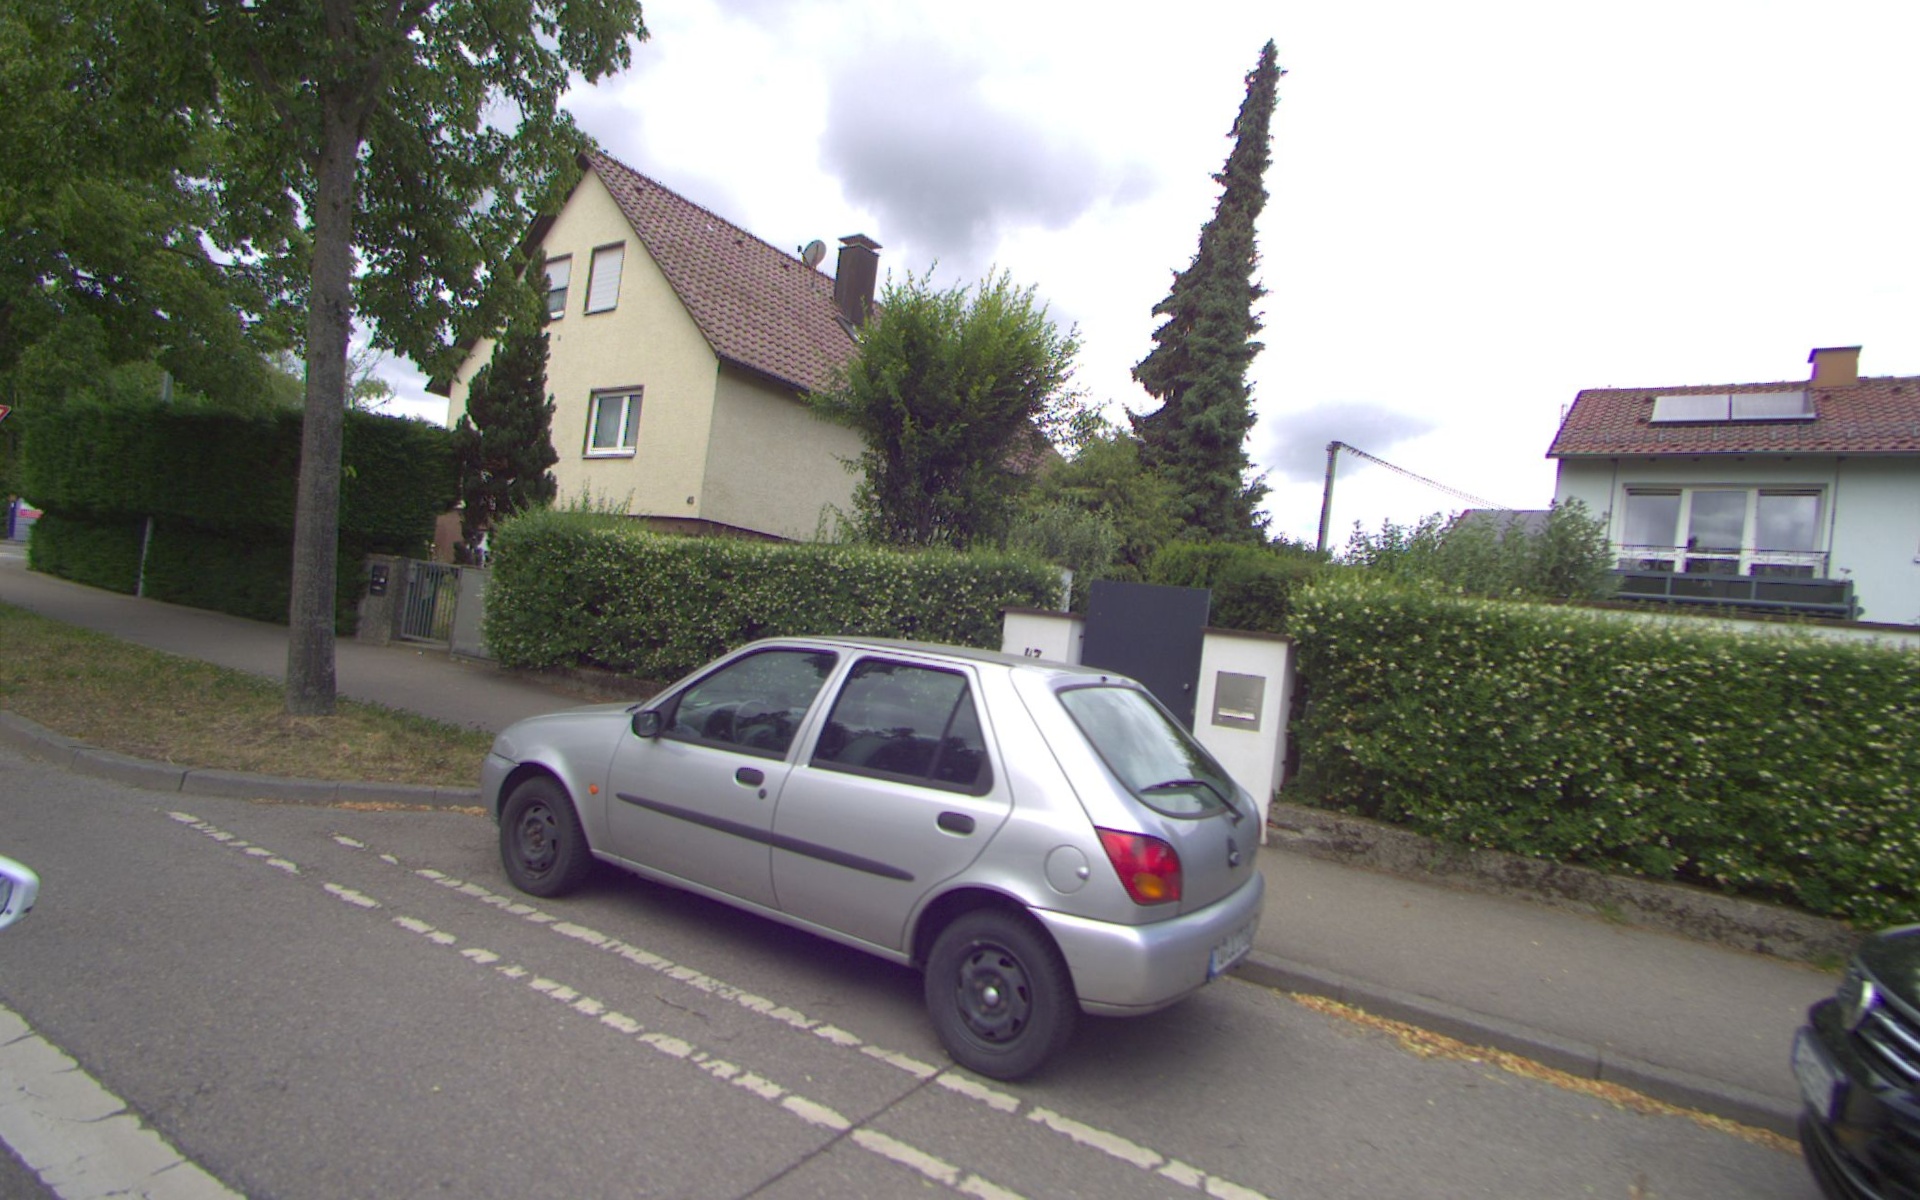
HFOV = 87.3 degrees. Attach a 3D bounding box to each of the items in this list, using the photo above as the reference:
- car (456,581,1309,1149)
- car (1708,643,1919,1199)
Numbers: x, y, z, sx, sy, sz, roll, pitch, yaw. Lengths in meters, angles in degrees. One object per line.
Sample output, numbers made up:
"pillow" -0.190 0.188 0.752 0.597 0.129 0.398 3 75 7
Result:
"car" -0.452 0.832 4.555 3.481 1.367 1.560 7 0 31
"car" 4.218 1.233 1.674 4.473 1.655 1.768 7 -1 32
